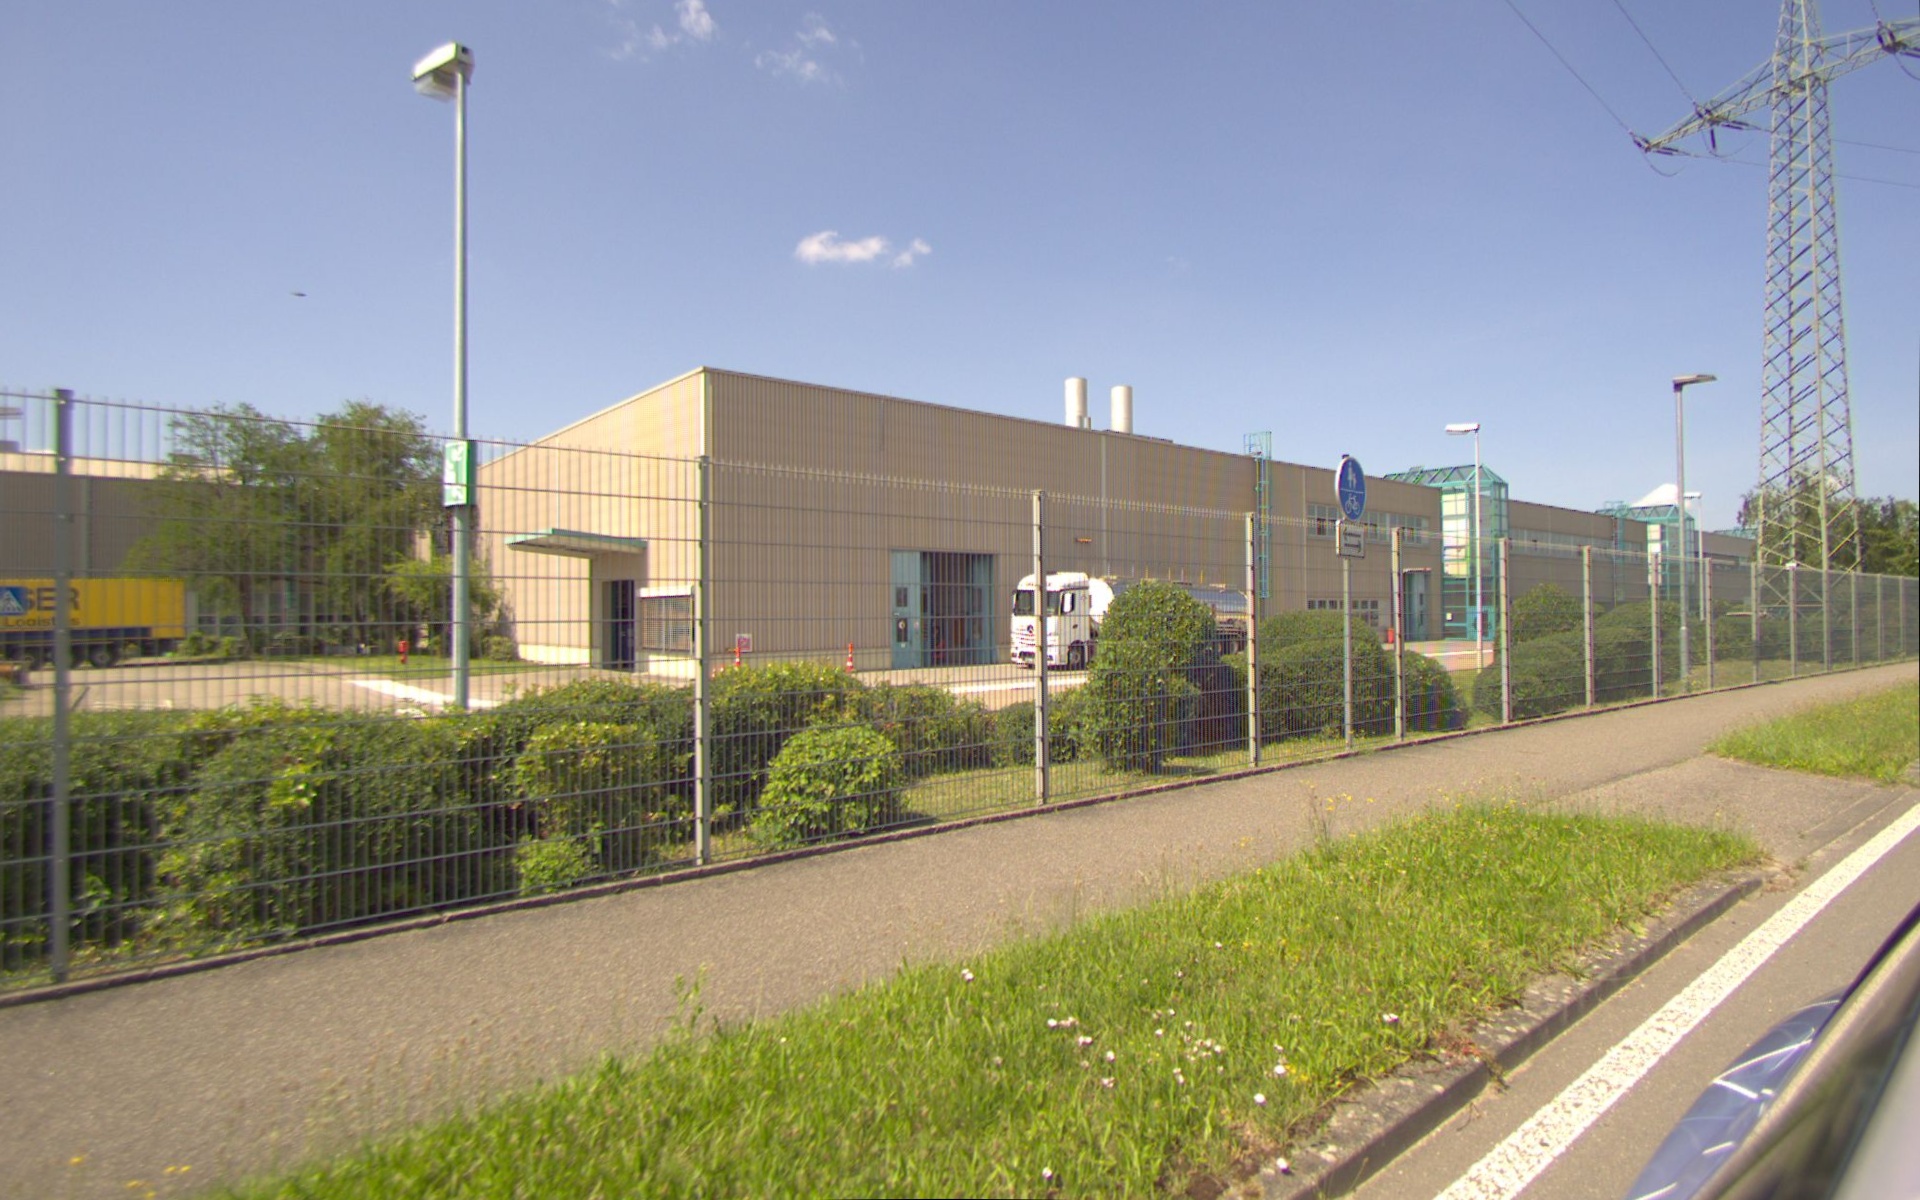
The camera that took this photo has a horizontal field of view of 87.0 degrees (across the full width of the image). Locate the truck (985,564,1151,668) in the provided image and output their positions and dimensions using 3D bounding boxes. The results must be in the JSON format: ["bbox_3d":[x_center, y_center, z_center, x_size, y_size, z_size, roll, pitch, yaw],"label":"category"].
[{"bbox_3d":[4.523,0.595,41.553,6.302,3.916,3.597,0,0,-44],"label":"truck"}]

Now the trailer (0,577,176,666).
[{"bbox_3d":[-44.023,0.987,44.698,14.791,3.891,2.940,0,-2,-40],"label":"trailer"}]

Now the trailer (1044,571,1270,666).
[{"bbox_3d":[9.256,0.738,45.935,12.027,3.783,3.595,0,0,-42],"label":"trailer"}]
